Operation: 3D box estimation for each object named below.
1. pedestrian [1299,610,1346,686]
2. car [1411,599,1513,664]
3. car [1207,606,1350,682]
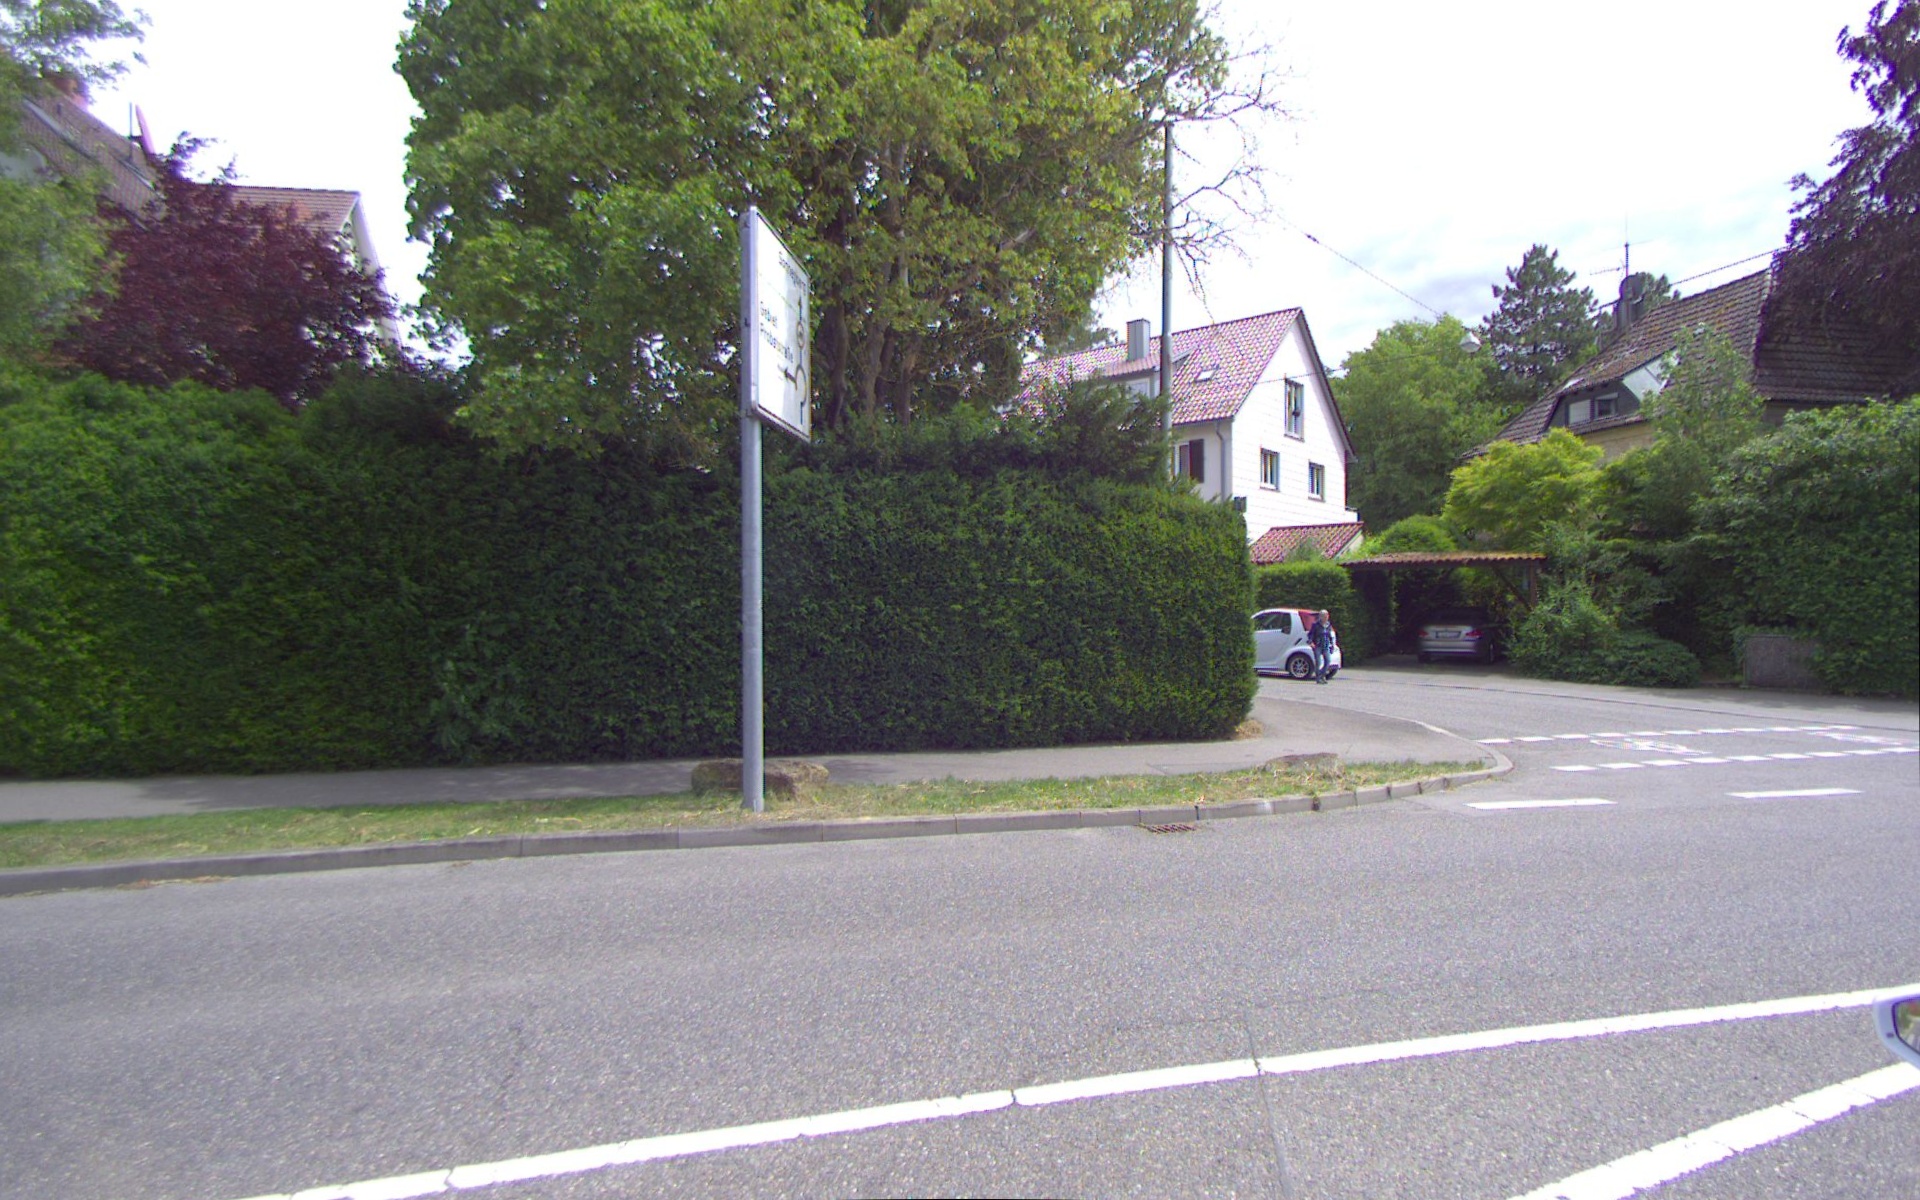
[{"bbox_3d":[7.565,0.988,20.973,0.721,1.529,0.624,1,0,43],"label":"pedestrian"},{"bbox_3d":[13.138,0.761,26.169,1.701,1.530,3.984,1,0,37],"label":"car"},{"bbox_3d":[7.351,0.966,23.264,2.739,1.576,1.581,1,0,43],"label":"car"}]
